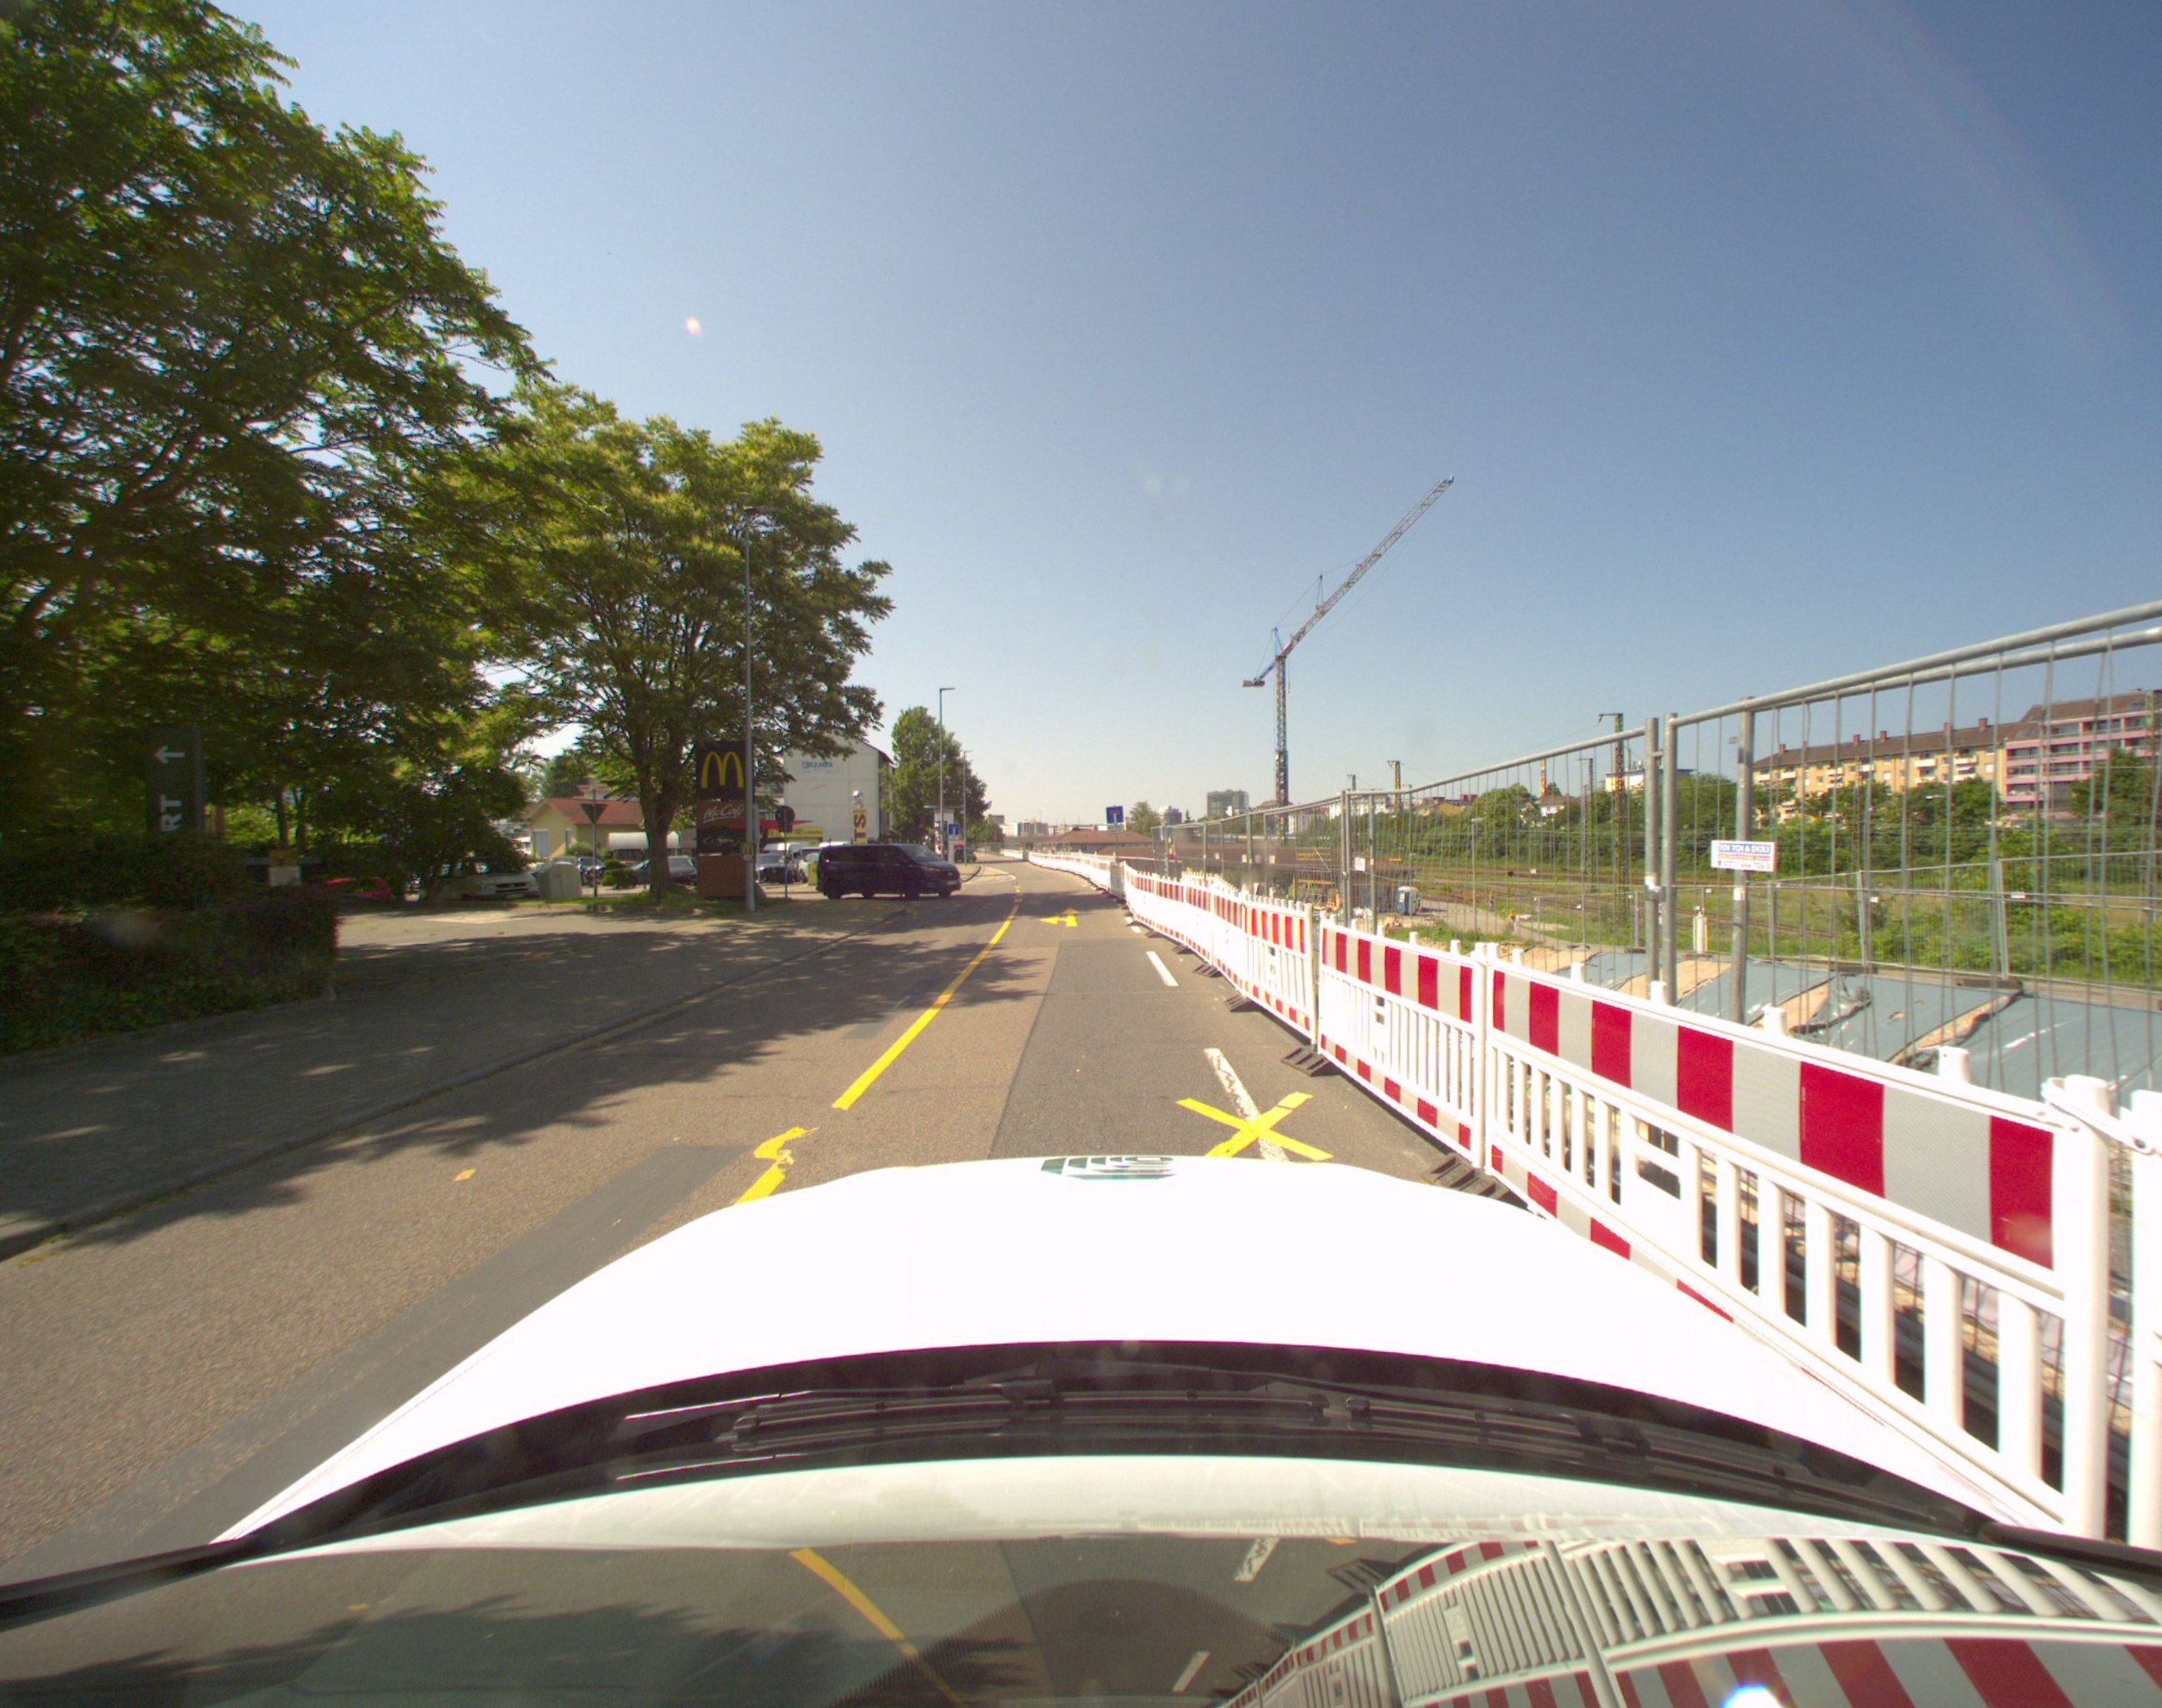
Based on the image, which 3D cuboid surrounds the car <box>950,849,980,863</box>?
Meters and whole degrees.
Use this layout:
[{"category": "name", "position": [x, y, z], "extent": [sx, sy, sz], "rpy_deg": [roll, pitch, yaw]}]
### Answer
[{"category": "car", "position": [-14.094, 0.290, 99.160], "extent": [1.704, 1.637, 3.301], "rpy_deg": [-1, -1, 43]}]

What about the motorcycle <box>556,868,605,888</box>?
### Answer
[{"category": "motorcycle", "position": [-32.670, 1.541, 53.224], "extent": [0.988, 1.227, 2.730], "rpy_deg": [-1, -1, 16]}]

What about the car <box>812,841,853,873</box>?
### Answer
[{"category": "car", "position": [-18.904, 0.208, 62.085], "extent": [2.134, 2.284, 4.700], "rpy_deg": [-1, 0, -7]}]

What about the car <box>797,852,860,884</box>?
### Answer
[{"category": "car", "position": [-14.073, 0.752, 45.323], "extent": [2.010, 1.725, 3.953], "rpy_deg": [0, -1, -40]}]

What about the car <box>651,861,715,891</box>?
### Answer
[{"category": "car", "position": [-21.237, 1.154, 43.624], "extent": [1.786, 1.510, 3.991], "rpy_deg": [0, -1, -6]}]

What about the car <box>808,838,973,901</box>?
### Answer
[{"category": "car", "position": [-6.736, 0.560, 28.704], "extent": [5.376, 1.968, 2.197], "rpy_deg": [-2, 0, 26]}]

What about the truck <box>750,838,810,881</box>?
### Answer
[{"category": "truck", "position": [-21.449, 0.363, 58.345], "extent": [2.263, 2.904, 5.937], "rpy_deg": [0, 0, -3]}]

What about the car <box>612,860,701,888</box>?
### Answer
[{"category": "car", "position": [-25.432, 1.189, 48.905], "extent": [4.359, 1.585, 1.976], "rpy_deg": [0, -1, -43]}]

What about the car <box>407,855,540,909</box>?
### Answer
[{"category": "car", "position": [-19.785, 0.834, 26.454], "extent": [4.966, 1.583, 1.970], "rpy_deg": [0, 0, 34]}]

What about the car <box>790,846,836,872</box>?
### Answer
[{"category": "car", "position": [-18.389, 0.322, 56.072], "extent": [1.874, 1.738, 4.715], "rpy_deg": [0, 0, -4]}]

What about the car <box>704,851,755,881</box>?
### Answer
[{"category": "car", "position": [-24.691, 0.804, 57.412], "extent": [1.990, 2.014, 4.487], "rpy_deg": [0, -1, -5]}]

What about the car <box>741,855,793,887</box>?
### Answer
[{"category": "car", "position": [-16.717, 0.863, 43.299], "extent": [2.058, 1.594, 4.383], "rpy_deg": [0, -1, -28]}]

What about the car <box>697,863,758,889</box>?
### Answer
[{"category": "car", "position": [-21.403, 1.293, 49.511], "extent": [1.781, 1.487, 4.003], "rpy_deg": [0, -1, 3]}]

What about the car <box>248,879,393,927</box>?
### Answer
[{"category": "car", "position": [-26.857, 1.689, 28.879], "extent": [1.468, 1.378, 3.435], "rpy_deg": [1, 2, 25]}]
